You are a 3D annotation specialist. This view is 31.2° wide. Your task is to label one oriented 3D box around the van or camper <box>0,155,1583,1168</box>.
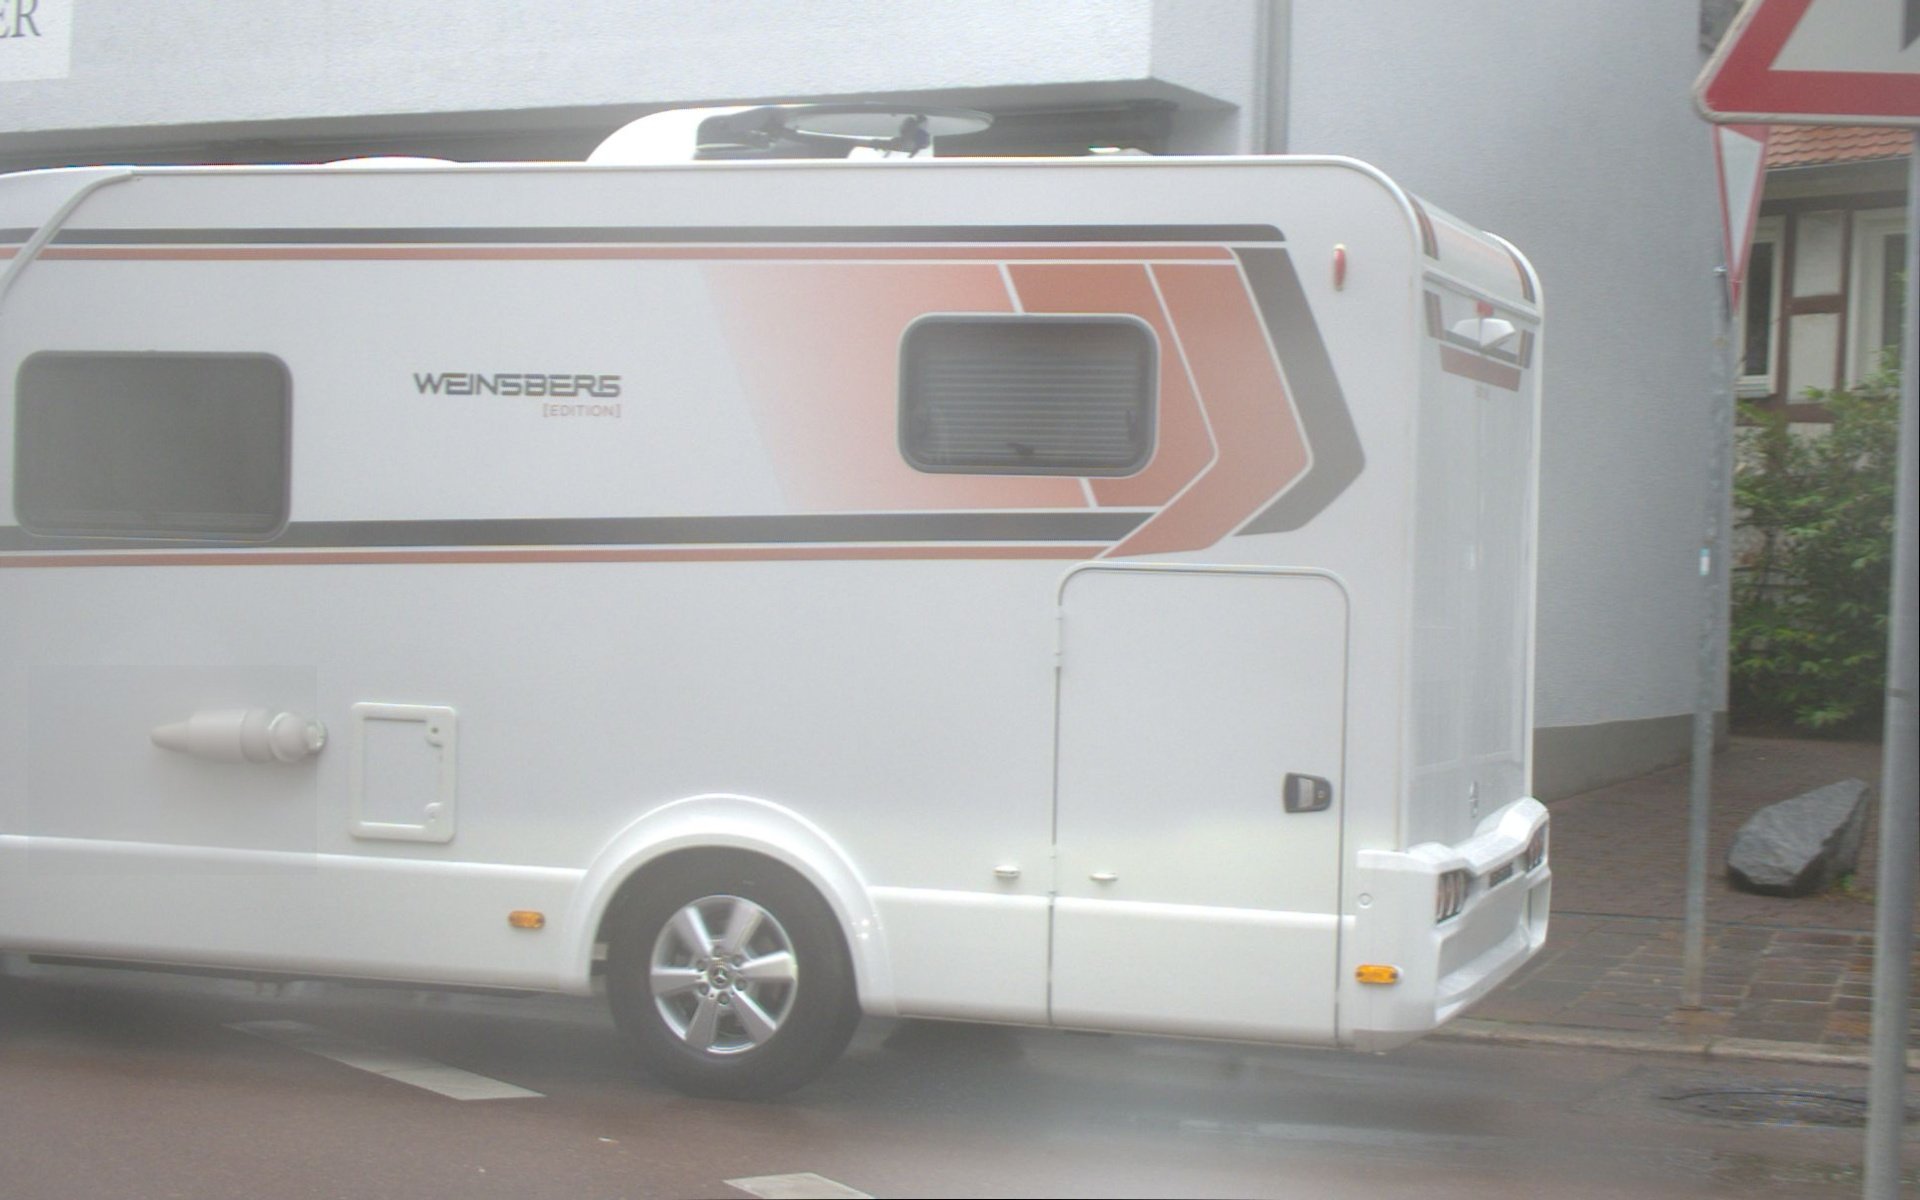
[{"bbox_3d":[-1.616,0.057,10.978,6.735,2.577,2.443,2,0,19],"label":"van or camper"}]
